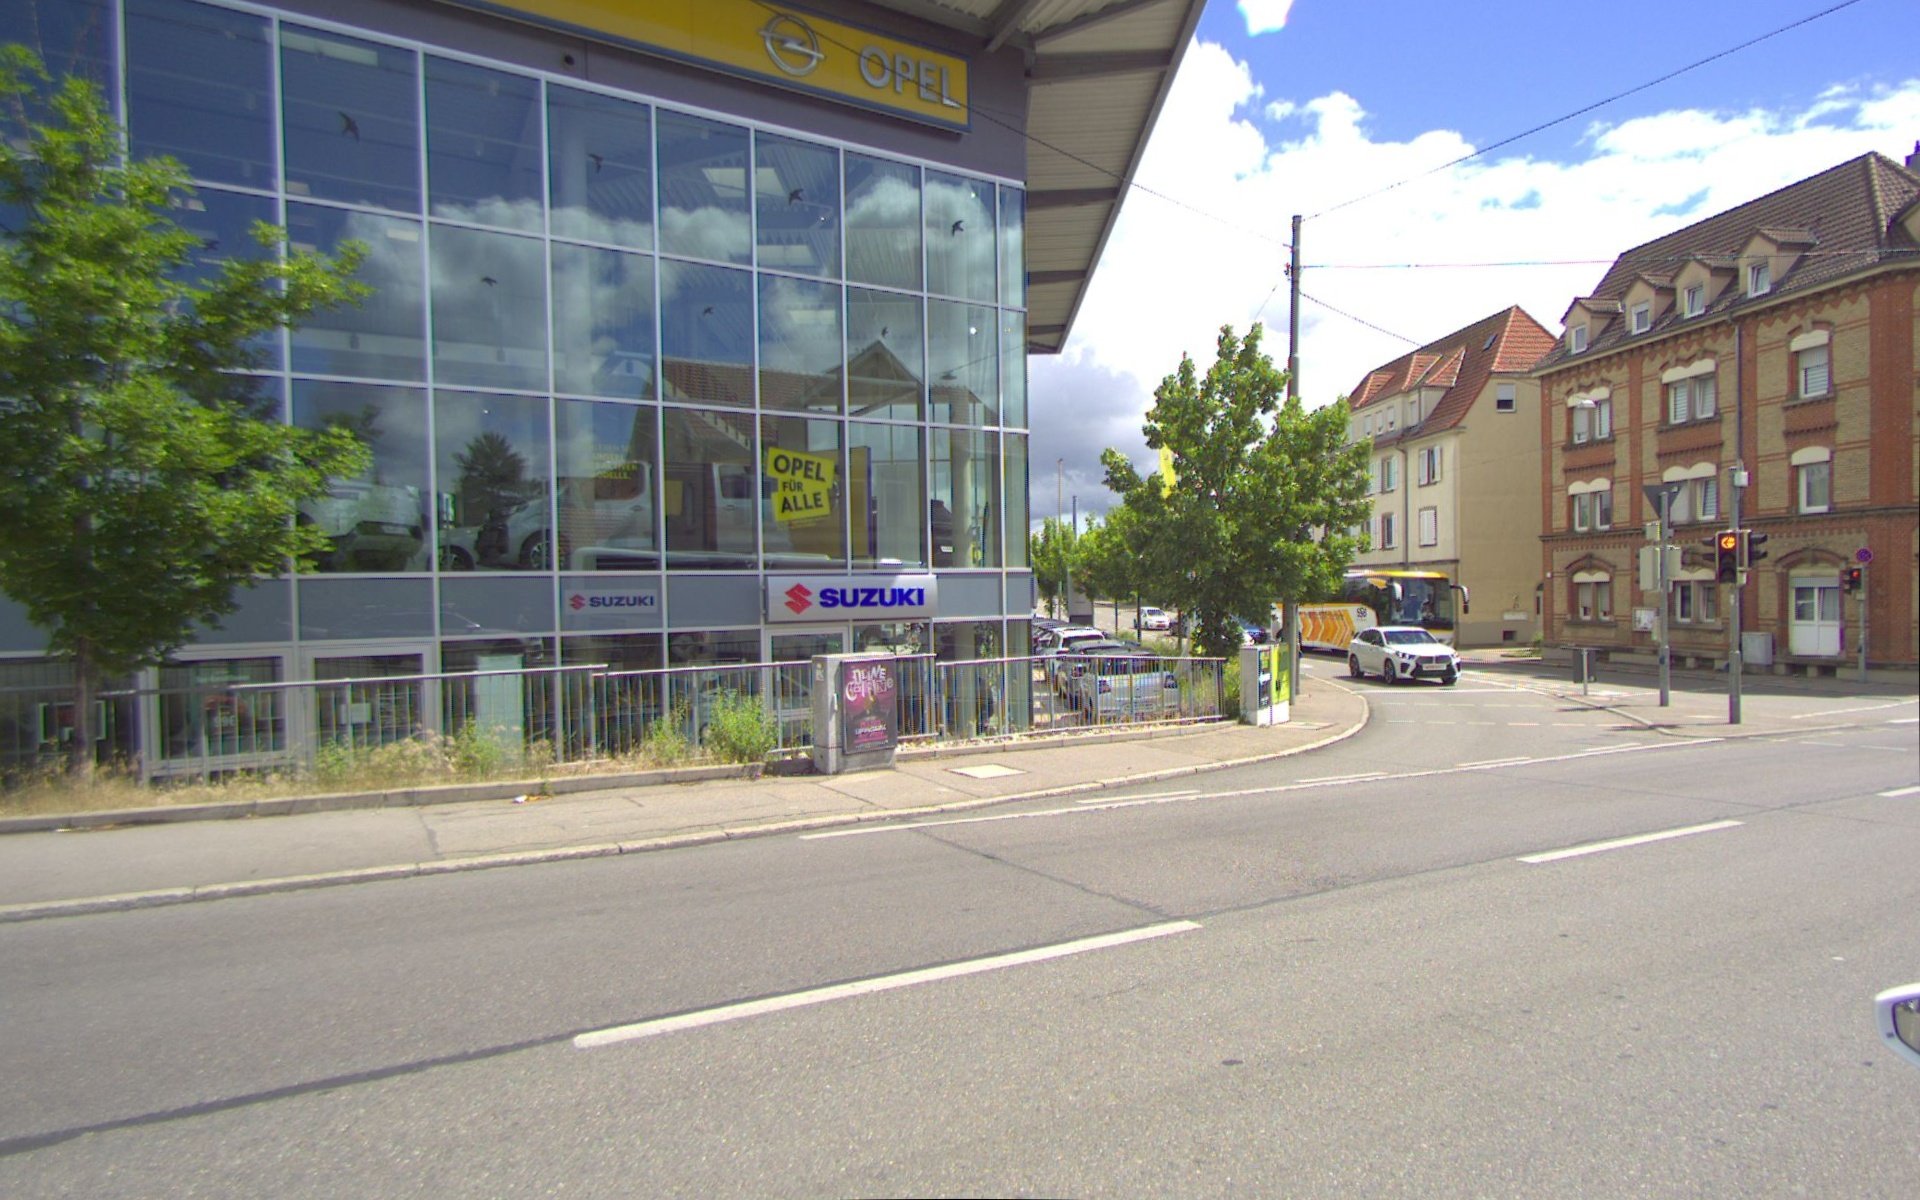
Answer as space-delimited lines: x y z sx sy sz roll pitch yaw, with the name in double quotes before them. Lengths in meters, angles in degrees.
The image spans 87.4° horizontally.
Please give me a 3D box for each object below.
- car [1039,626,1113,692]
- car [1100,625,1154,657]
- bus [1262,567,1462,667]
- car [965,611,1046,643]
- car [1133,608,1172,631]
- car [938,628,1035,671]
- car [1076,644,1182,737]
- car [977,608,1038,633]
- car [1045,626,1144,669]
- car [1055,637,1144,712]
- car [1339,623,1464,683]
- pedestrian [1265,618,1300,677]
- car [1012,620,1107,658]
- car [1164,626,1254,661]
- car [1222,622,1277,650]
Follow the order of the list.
"car" 3.303 1.655 29.096 1.620 1.703 3.499 -1 0 -2
"car" 8.091 1.964 48.935 1.766 1.467 3.498 1 -1 -5
"bus" 16.765 0.540 43.369 2.719 3.670 12.253 1 1 -5
"car" 2.356 1.411 52.794 3.930 1.574 1.804 1 -1 -12
"car" 13.672 1.400 71.474 1.874 1.574 3.999 1 -1 -2
"car" 0.931 1.790 36.890 3.432 1.467 1.799 -1 0 -3
"car" 3.349 1.758 20.429 1.648 1.582 3.365 -1 0 1
"car" 3.163 1.359 67.435 3.922 1.574 1.807 1 -1 -1
"car" 4.954 1.759 37.355 3.430 1.497 1.800 1 -1 1
"car" 3.330 1.762 24.575 1.584 1.547 3.499 -1 0 -2
"car" 12.811 1.555 29.446 1.797 1.572 4.308 2 -3 1
"pedestrian" 9.908 1.446 30.913 0.744 1.757 1.145 1 -1 2
"car" 4.445 1.741 45.075 3.925 1.574 1.806 1 -1 -7
"car" 11.014 1.903 44.344 3.553 1.437 1.882 0 -1 26
"car" 15.976 1.952 55.564 1.717 1.428 3.999 1 -1 -3
